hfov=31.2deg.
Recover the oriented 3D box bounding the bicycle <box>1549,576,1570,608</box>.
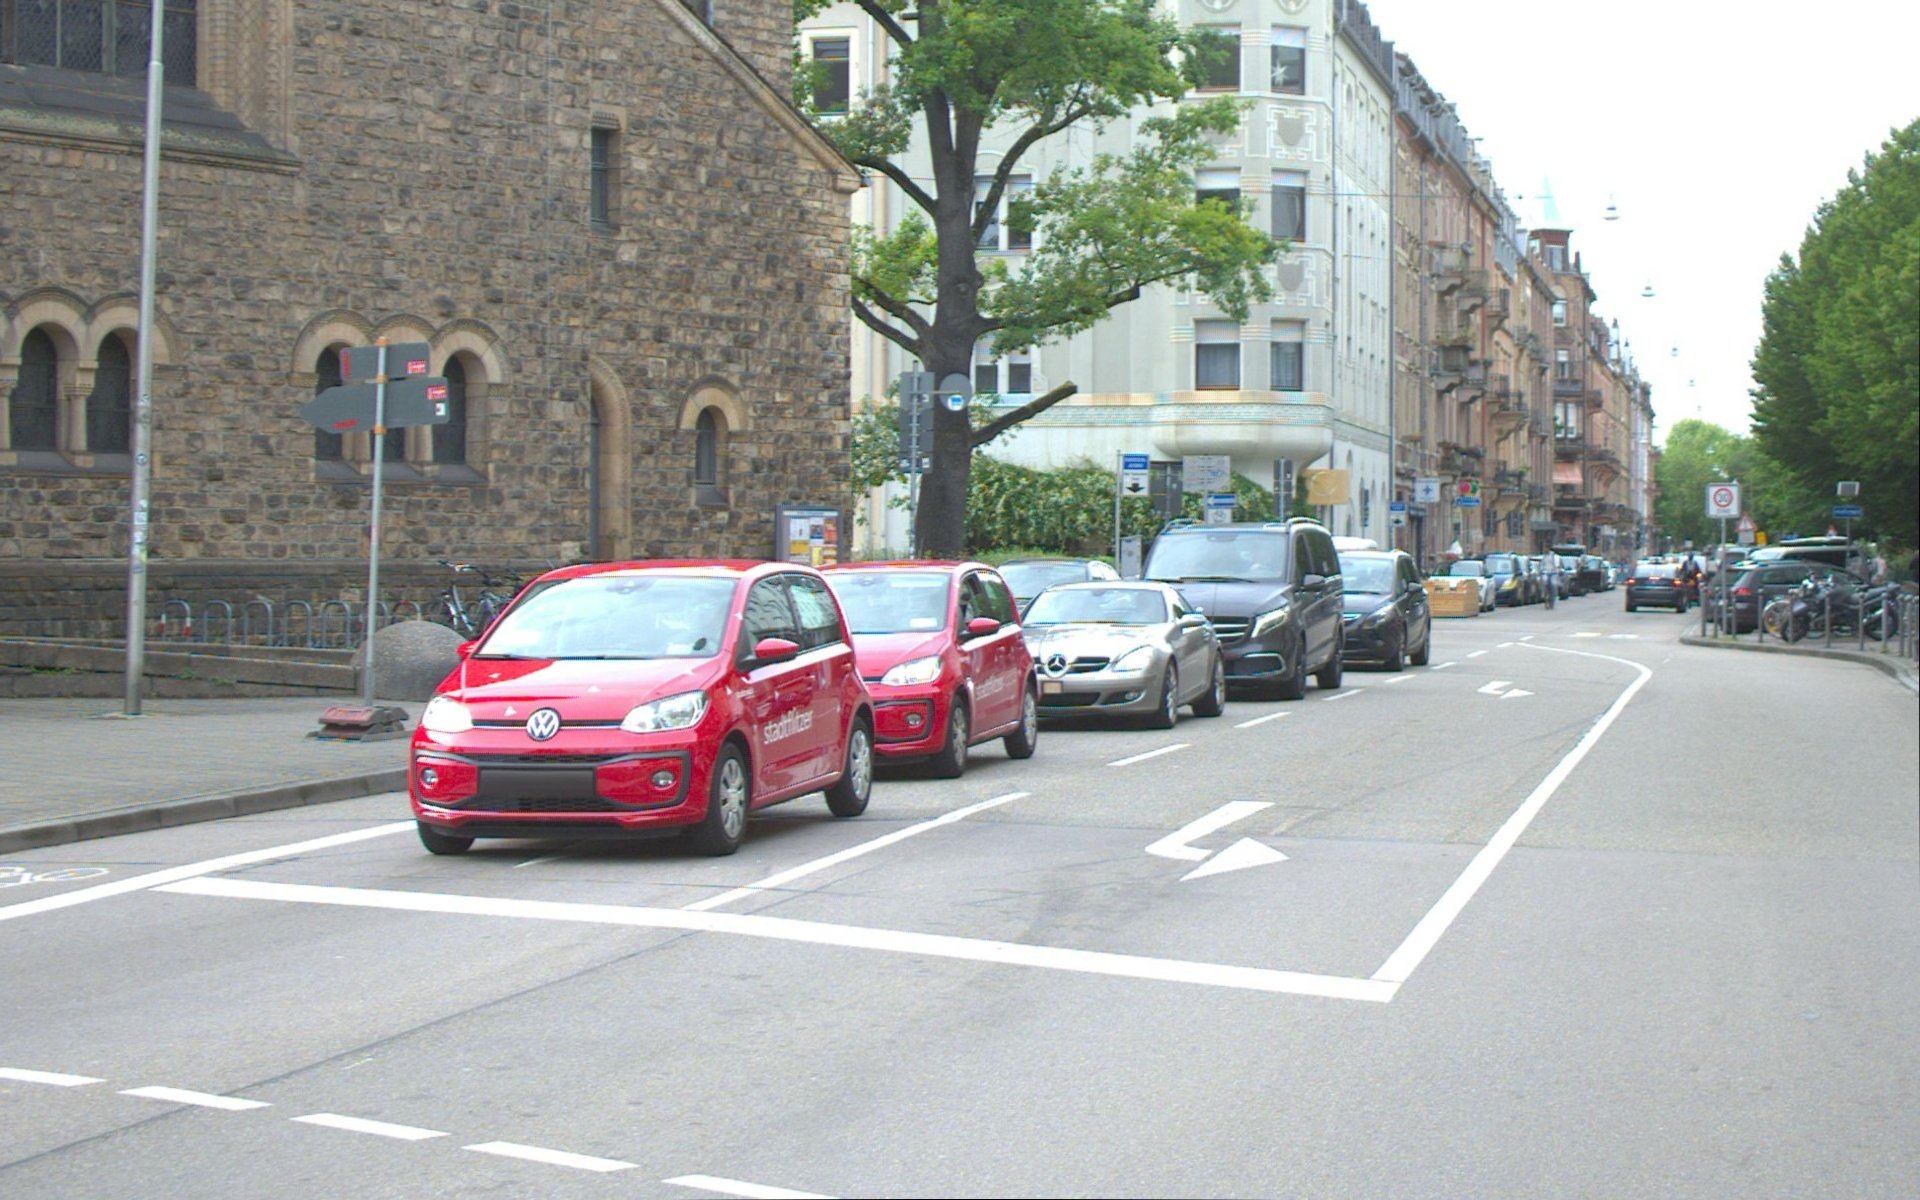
[{"bbox_3d":[18.987,-0.253,108.862,0.535,0.974,1.864,1,0,12],"label":"bicycle"}]

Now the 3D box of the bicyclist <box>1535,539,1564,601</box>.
[{"bbox_3d":[17.992,-0.910,104.860,0.782,1.860,0.714,1,1,15],"label":"bicyclist"}]

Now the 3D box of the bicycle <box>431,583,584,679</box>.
[{"bbox_3d":[-5.536,0.366,42.044,1.780,1.126,0.660,1,1,26],"label":"bicycle"}]

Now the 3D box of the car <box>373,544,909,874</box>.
[{"bbox_3d":[-1.572,0.500,18.353,1.650,1.523,3.891,-2,1,13],"label":"car"}]

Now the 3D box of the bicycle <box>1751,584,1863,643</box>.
[{"bbox_3d":[15.284,0.251,62.075,1.930,1.040,0.611,-1,-1,10],"label":"bicycle"}]

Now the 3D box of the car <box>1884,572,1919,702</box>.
[{"bbox_3d":[13.144,0.335,40.033,4.245,1.473,1.685,-3,1,-11],"label":"car"}]

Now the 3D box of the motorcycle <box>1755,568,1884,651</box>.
[{"bbox_3d":[15.052,0.171,60.231,2.135,1.425,0.770,-1,-1,10],"label":"motorcycle"}]

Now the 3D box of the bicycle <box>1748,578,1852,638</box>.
[{"bbox_3d":[16.032,0.158,65.614,1.884,1.137,0.611,-1,-1,10],"label":"bicycle"}]

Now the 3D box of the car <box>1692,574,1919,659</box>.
[{"bbox_3d":[17.219,0.329,69.732,4.272,1.573,1.864,-2,0,-20],"label":"car"}]

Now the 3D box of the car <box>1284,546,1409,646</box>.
[{"bbox_3d":[7.868,-0.112,69.735,1.844,1.933,4.545,1,1,15],"label":"car"}]

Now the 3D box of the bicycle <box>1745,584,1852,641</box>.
[{"bbox_3d":[15.520,0.236,63.689,1.884,1.040,0.611,-1,-1,10],"label":"bicycle"}]

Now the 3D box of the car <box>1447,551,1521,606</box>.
[{"bbox_3d":[16.330,-0.668,106.987,1.945,1.611,3.940,2,1,13],"label":"car"}]

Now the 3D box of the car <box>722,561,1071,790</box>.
[{"bbox_3d":[-0.363,0.492,24.097,1.603,1.452,3.716,-1,0,12],"label":"car"}]

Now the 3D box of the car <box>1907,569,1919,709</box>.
[{"bbox_3d":[12.621,0.346,37.431,3.986,1.528,1.933,-3,1,-16],"label":"car"}]

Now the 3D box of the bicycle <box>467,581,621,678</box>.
[{"bbox_3d":[-5.176,0.355,42.767,1.780,1.162,0.740,1,1,26],"label":"bicycle"}]

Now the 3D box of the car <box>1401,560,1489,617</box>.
[{"bbox_3d":[13.624,-0.322,96.441,1.945,1.548,3.814,0,0,16],"label":"car"}]

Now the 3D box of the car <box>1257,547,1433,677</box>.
[{"bbox_3d":[5.365,0.121,47.473,1.846,1.678,4.545,1,1,13],"label":"car"}]

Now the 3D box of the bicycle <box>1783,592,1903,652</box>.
[{"bbox_3d":[15.698,0.392,61.169,2.010,1.059,0.611,-1,-1,10],"label":"bicycle"}]

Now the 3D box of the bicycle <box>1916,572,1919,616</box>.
[{"bbox_3d":[24.602,-0.140,85.082,1.753,1.088,0.565,1,-1,13],"label":"bicycle"}]

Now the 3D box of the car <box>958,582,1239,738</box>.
[{"bbox_3d":[1.317,0.507,30.933,1.705,1.282,4.039,-1,0,14],"label":"car"}]

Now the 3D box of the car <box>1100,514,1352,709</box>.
[{"bbox_3d":[2.990,0.076,37.533,1.913,1.948,5.280,1,1,13],"label":"car"}]

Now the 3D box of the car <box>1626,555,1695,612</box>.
[{"bbox_3d":[21.507,-0.493,105.529,1.994,1.675,3.998,1,0,12],"label":"car"}]

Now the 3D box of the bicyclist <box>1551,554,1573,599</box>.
[{"bbox_3d":[19.073,-0.734,108.911,0.668,1.394,0.783,1,-1,10],"label":"bicyclist"}]

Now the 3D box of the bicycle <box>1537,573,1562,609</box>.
[{"bbox_3d":[17.929,-0.275,104.567,0.568,1.084,1.985,1,1,14],"label":"bicycle"}]

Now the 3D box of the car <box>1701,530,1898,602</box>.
[{"bbox_3d":[25.115,-1.010,102.824,5.605,2.120,1.951,0,0,-21],"label":"car"}]
